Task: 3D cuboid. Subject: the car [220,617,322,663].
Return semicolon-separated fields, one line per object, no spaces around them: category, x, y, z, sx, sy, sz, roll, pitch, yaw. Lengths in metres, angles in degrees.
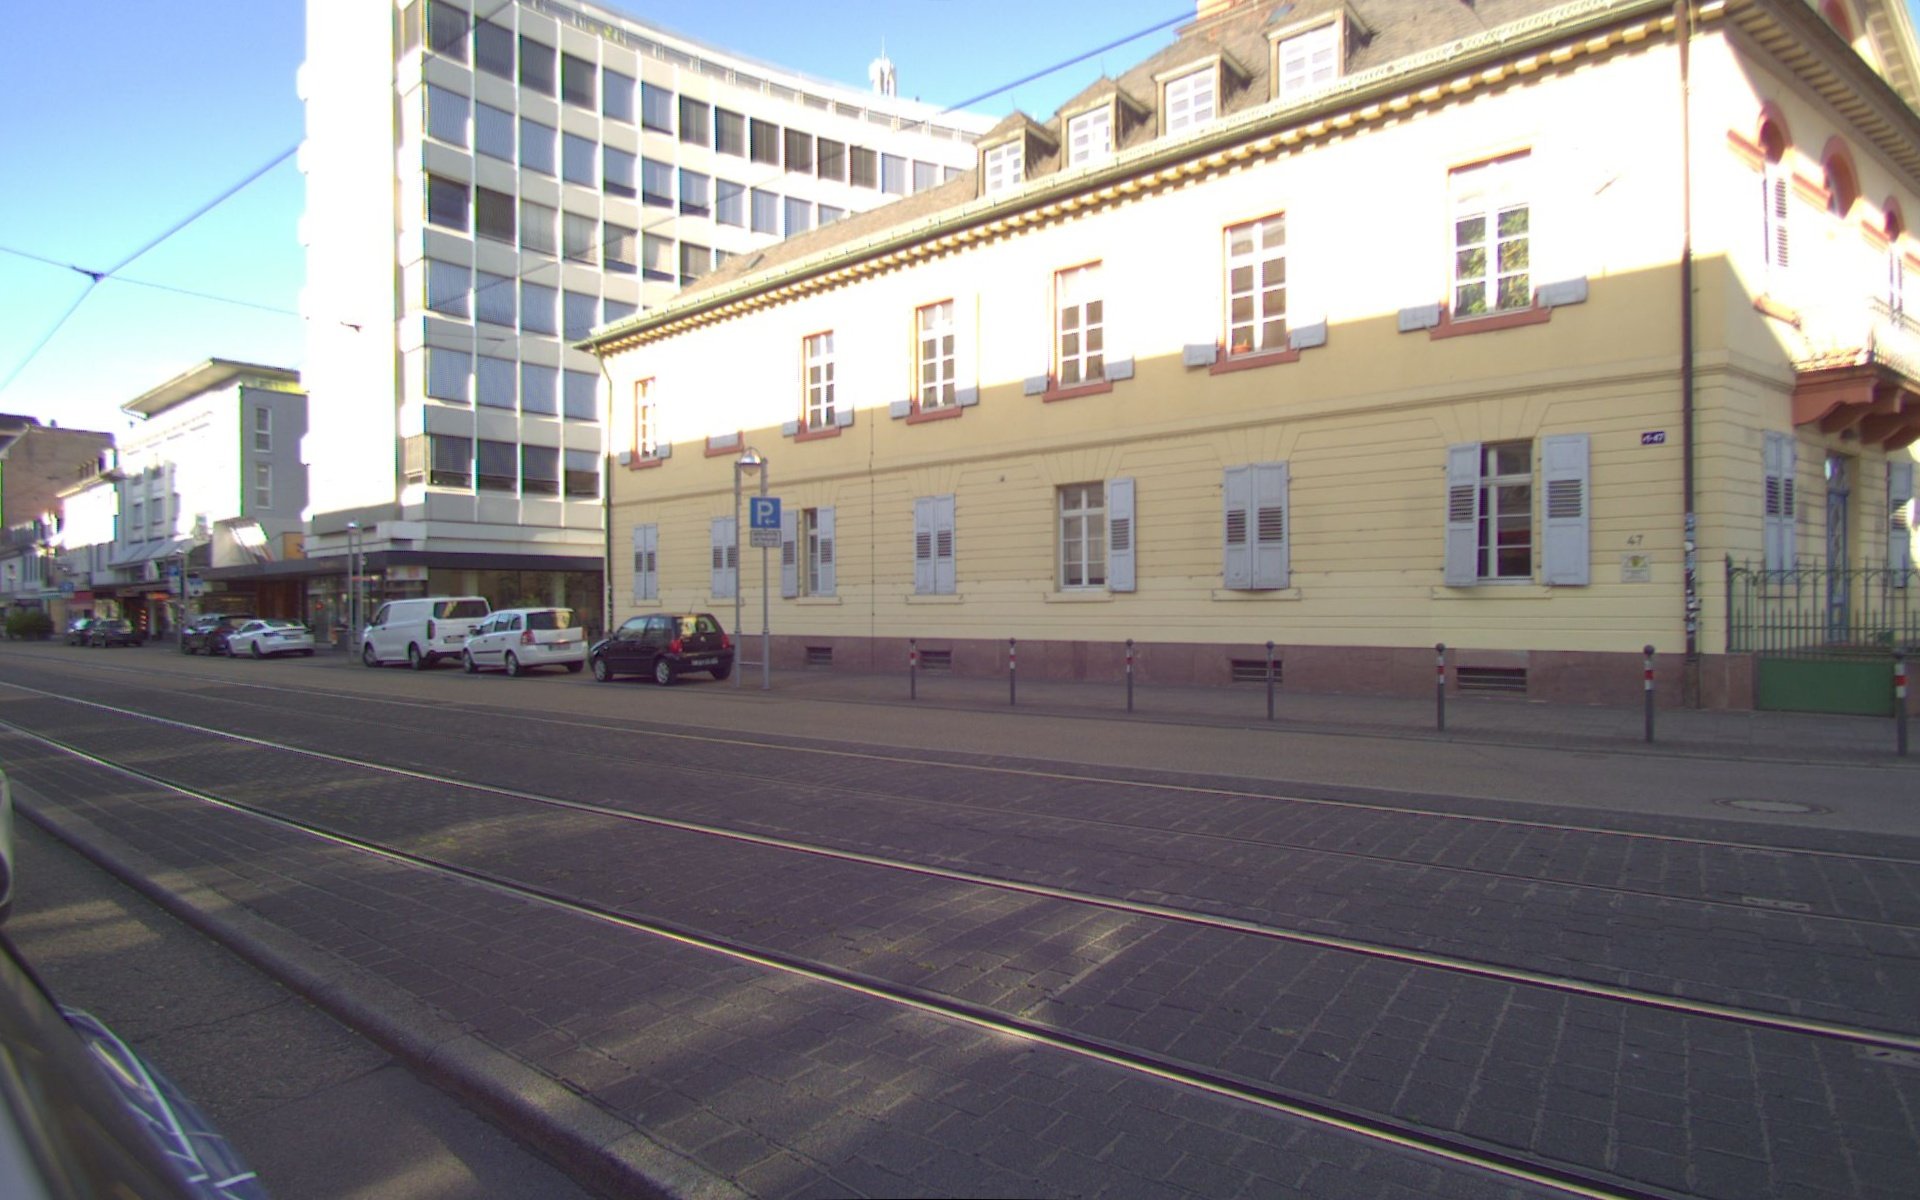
car;-25.645;1.443;37.616;4.369;1.541;1.974;-1;0;39

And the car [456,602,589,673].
car;-11.025;0.889;25.391;4.005;1.621;1.619;-1;0;43

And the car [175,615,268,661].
car;-29.920;1.488;40.975;4.103;1.717;1.975;-1;0;38

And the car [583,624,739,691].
car;-6.391;1.165;21.549;3.210;1.263;1.667;-1;0;39

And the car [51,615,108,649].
car;-50.324;1.810;57.809;3.994;1.896;1.768;-1;-1;38

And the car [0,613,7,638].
car;-78.840;2.091;81.904;3.995;2.029;1.974;-1;0;38

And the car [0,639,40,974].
car;-6.118;0.902;4.787;3.992;1.393;1.862;-1;0;36

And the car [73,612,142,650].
car;-43.876;1.551;52.058;3.995;1.874;1.974;-1;0;38

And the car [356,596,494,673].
car;-15.360;0.968;28.954;4.619;2.029;2.014;-1;-1;41

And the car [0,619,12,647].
car;-71.279;2.395;74.349;3.998;2.029;1.973;-1;-1;41

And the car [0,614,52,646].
car;-62.983;2.018;68.114;3.996;2.058;2.172;-1;-1;39
